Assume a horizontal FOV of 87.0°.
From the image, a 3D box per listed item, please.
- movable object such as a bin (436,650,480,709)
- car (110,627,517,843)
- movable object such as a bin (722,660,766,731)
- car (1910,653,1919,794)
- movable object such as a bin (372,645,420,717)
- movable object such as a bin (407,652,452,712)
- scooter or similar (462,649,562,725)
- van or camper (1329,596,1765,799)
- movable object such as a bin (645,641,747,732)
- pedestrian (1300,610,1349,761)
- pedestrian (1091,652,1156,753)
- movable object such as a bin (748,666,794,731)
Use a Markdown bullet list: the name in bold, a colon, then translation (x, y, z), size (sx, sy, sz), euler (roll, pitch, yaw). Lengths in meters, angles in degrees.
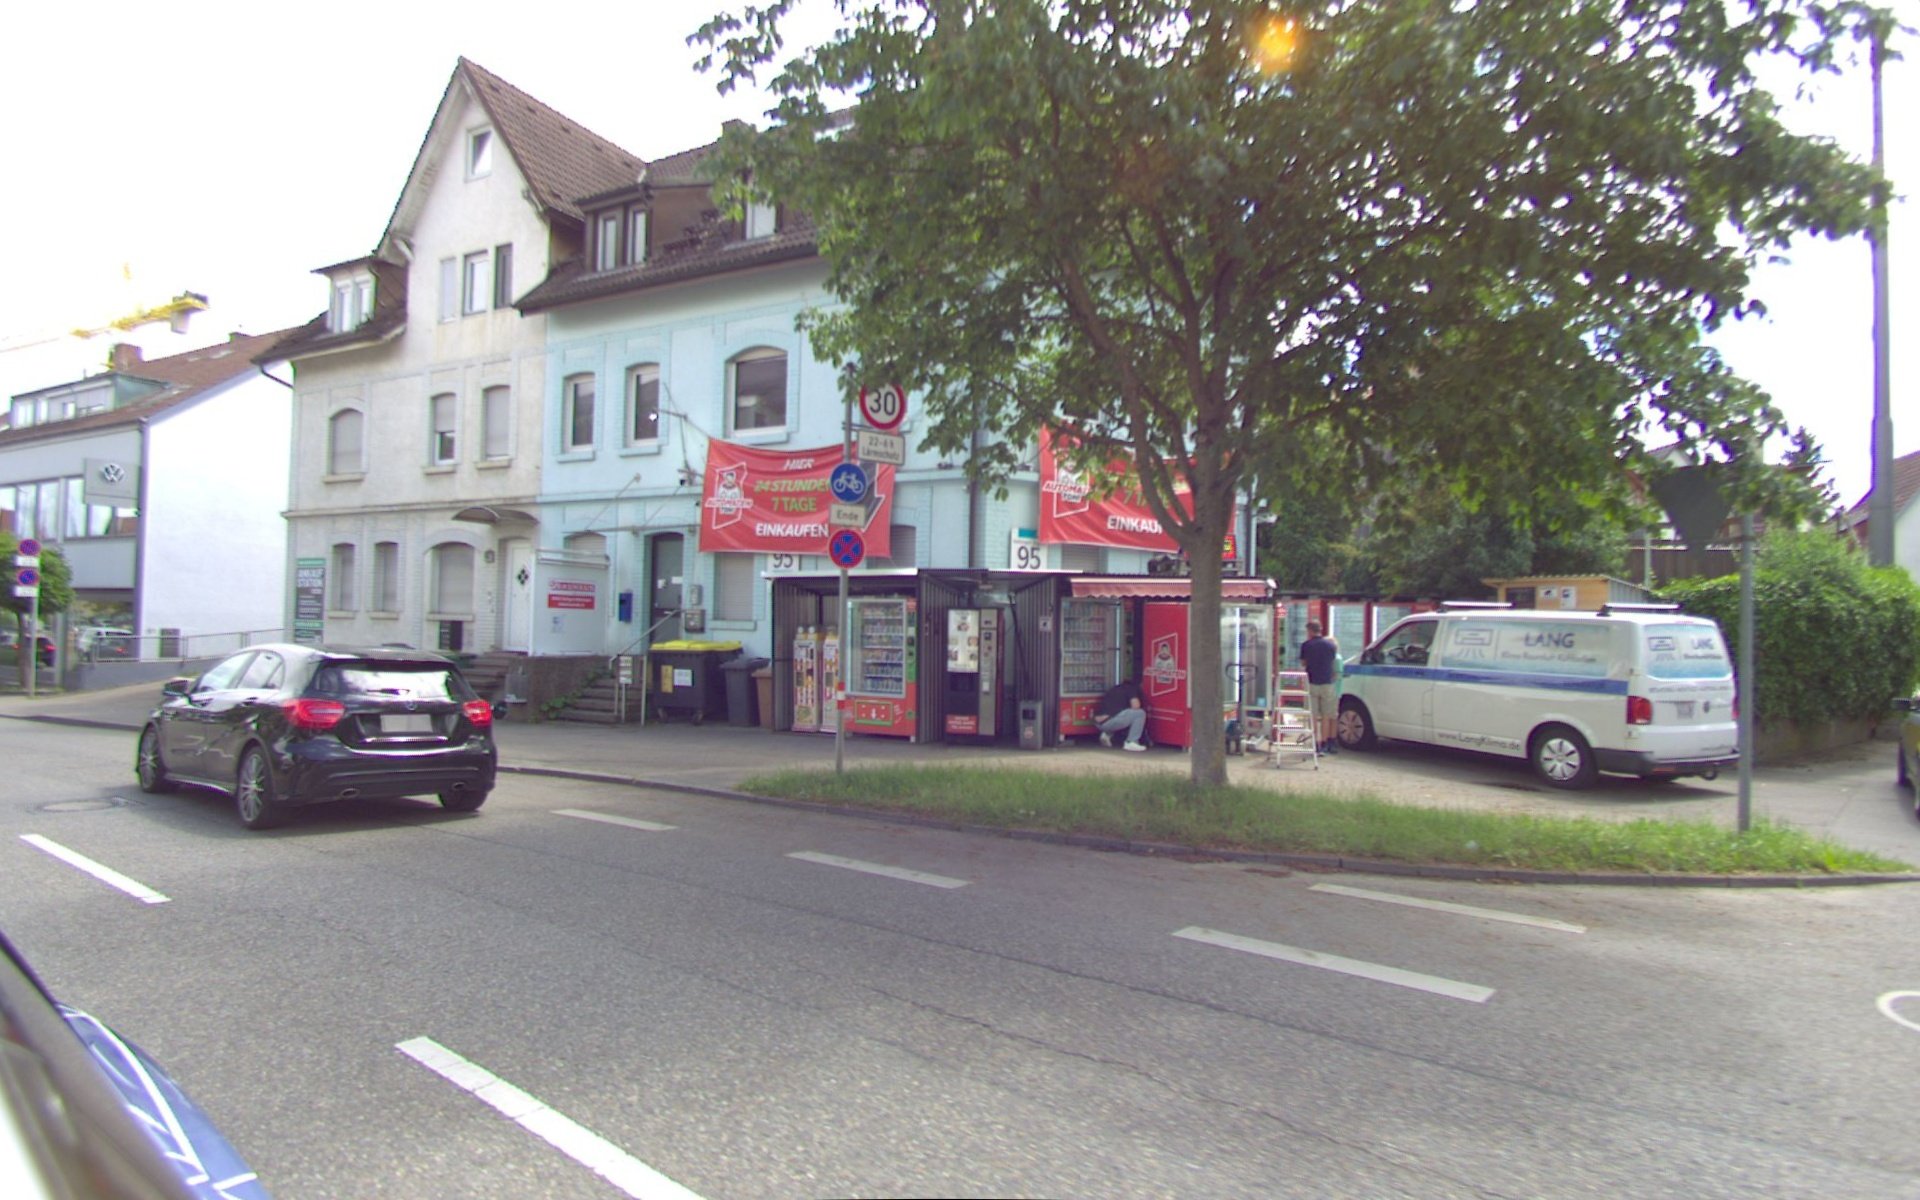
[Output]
- **movable object such as a bin**: translation (-9.934, 1.562, 20.022), size (0.560, 1.109, 0.561), euler (0, 0, 25)
- **car**: translation (-5.933, 1.058, 9.107), size (4.220, 1.493, 1.671), euler (-1, -6, 38)
- **movable object such as a bin**: translation (-3.383, 1.485, 15.870), size (0.515, 1.048, 0.430), euler (0, -1, 28)
- **car**: translation (10.414, 1.280, 9.644), size (1.815, 1.424, 3.974), euler (0, -1, 41)
- **movable object such as a bin**: translation (-10.506, 1.489, 18.853), size (0.560, 1.282, 0.561), euler (-1, 0, 25)
- **movable object such as a bin**: translation (-10.210, 1.568, 19.486), size (0.560, 1.109, 0.561), euler (0, 0, 25)
- **scooter or similar**: translation (-7.650, 1.462, 17.336), size (0.543, 1.193, 1.543), euler (0, -1, 29)
- **van or camper**: translation (6.844, 1.018, 12.397), size (1.759, 2.009, 4.394), euler (2, -1, -25)
- **movable object such as a bin**: translation (-4.277, 1.368, 16.452), size (1.241, 1.365, 1.013), euler (0, -1, 28)
- **pedestrian**: translation (4.746, 1.091, 13.211), size (0.560, 1.910, 0.622), euler (0, -1, 18)
- **pedestrian**: translation (2.206, 1.357, 13.620), size (0.735, 1.281, 0.620), euler (0, -1, 24)
- **movable object such as a bin**: translation (-2.915, 1.507, 15.617), size (0.515, 0.939, 0.443), euler (0, -1, 28)
